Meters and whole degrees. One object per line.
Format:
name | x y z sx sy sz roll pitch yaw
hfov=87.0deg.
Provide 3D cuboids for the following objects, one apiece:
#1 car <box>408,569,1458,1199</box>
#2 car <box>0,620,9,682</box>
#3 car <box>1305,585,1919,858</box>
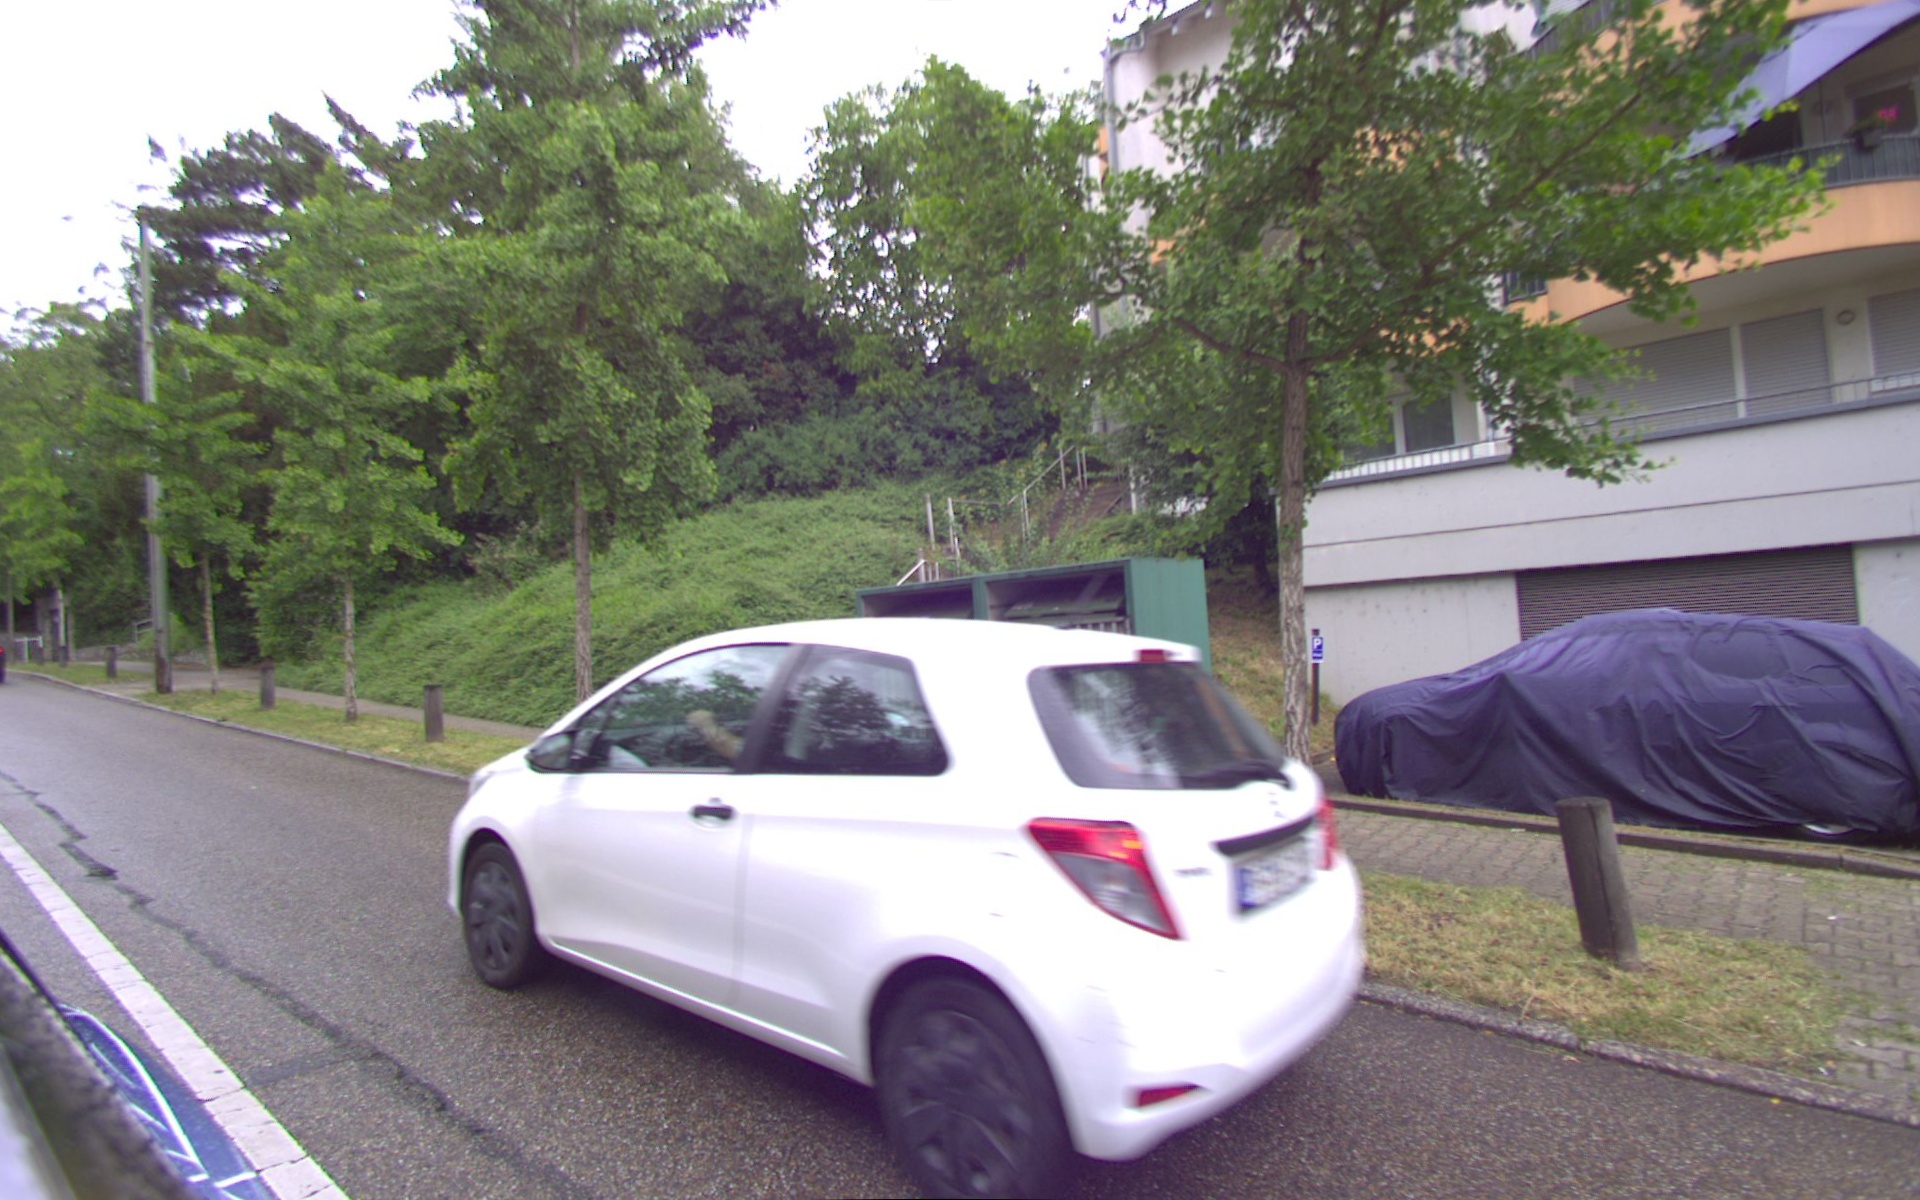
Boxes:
car | -0.412 0.781 3.844 3.840 1.543 1.691 -1 -3 41
car | -24.618 1.226 24.577 3.997 1.459 1.759 -1 -3 40
car | 4.920 0.784 7.562 4.095 1.573 1.759 -1 -5 41
